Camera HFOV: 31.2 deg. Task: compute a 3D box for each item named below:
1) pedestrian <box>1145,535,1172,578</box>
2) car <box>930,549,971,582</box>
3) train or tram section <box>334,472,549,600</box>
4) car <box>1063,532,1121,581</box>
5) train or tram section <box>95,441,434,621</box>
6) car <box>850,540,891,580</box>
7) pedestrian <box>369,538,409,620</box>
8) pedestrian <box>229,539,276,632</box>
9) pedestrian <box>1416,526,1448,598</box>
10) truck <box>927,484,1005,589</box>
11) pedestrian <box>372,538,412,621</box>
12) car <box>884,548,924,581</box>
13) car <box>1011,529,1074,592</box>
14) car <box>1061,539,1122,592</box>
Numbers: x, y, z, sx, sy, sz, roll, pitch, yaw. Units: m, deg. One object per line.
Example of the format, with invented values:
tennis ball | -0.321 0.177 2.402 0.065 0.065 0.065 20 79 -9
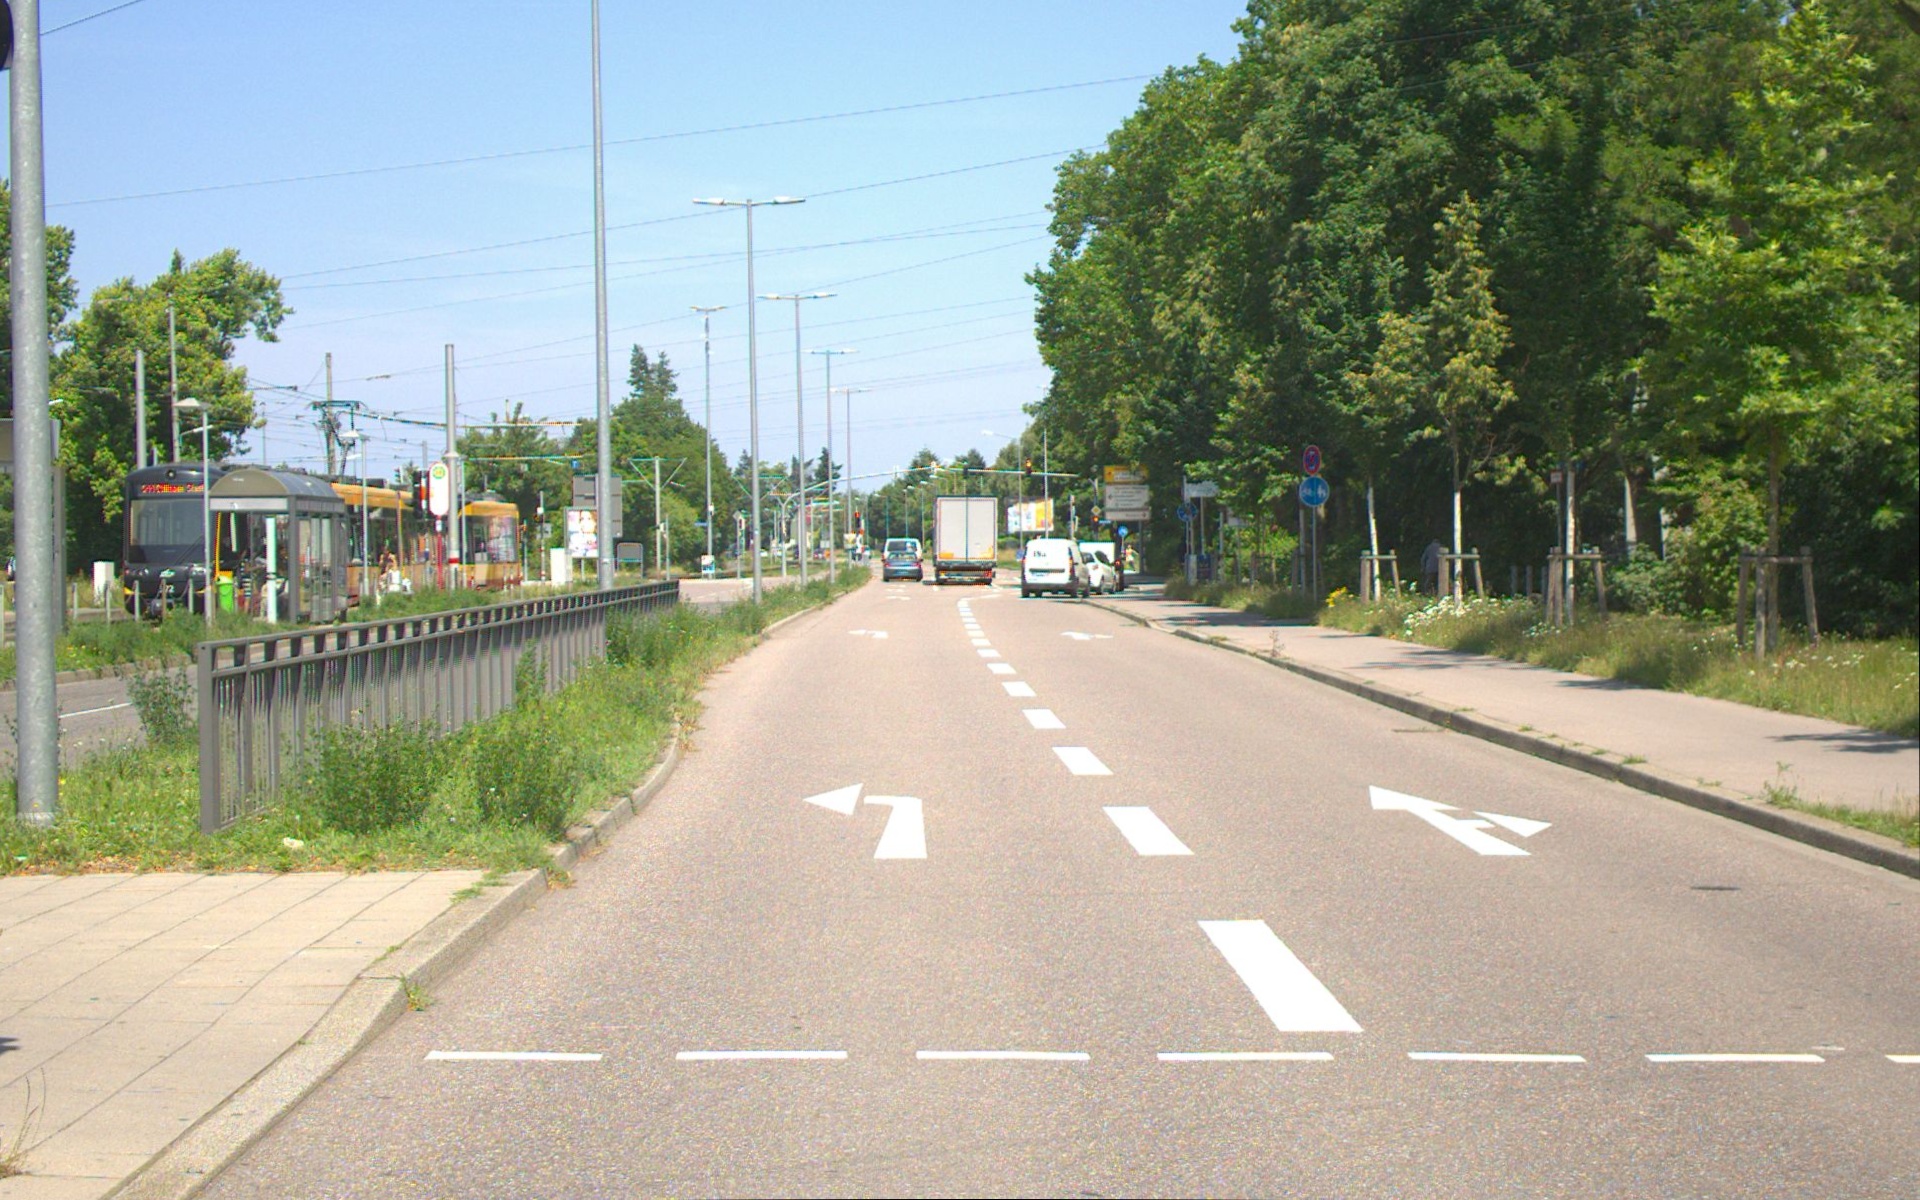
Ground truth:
pedestrian | 9.427 -2.071 163.289 1.185 2.007 1.214 0 1 0
car | -0.439 -1.549 153.621 1.811 1.459 4.000 0 1 -1
train or tram section | -17.322 -2.199 118.276 2.931 3.776 33.090 0 1 -1
car | 4.543 -1.509 118.793 1.779 1.663 4.000 0 1 -1
train or tram section | -16.801 -1.698 86.761 2.957 3.736 30.035 0 1 -1
car | -4.560 -2.066 175.170 1.993 2.007 4.000 0 1 -1
pedestrian | -14.099 -0.521 84.952 0.815 2.007 0.938 0 1 -1
pedestrian | -14.261 -0.300 69.306 0.785 1.862 0.817 0 1 -1
pedestrian | 9.448 -0.760 68.851 0.604 1.433 0.556 0 1 6
truck | 0.207 -2.711 146.057 3.205 4.344 6.561 0 1 -1
pedestrian | -13.821 -0.505 83.658 0.815 2.007 0.938 0 1 -1
car | -2.563 -1.643 157.889 1.811 1.459 4.000 0 1 -1
car | 2.504 -1.217 105.519 1.779 1.897 4.000 0 1 -1
car | 4.293 -1.145 112.450 1.779 1.663 4.000 0 1 -1
